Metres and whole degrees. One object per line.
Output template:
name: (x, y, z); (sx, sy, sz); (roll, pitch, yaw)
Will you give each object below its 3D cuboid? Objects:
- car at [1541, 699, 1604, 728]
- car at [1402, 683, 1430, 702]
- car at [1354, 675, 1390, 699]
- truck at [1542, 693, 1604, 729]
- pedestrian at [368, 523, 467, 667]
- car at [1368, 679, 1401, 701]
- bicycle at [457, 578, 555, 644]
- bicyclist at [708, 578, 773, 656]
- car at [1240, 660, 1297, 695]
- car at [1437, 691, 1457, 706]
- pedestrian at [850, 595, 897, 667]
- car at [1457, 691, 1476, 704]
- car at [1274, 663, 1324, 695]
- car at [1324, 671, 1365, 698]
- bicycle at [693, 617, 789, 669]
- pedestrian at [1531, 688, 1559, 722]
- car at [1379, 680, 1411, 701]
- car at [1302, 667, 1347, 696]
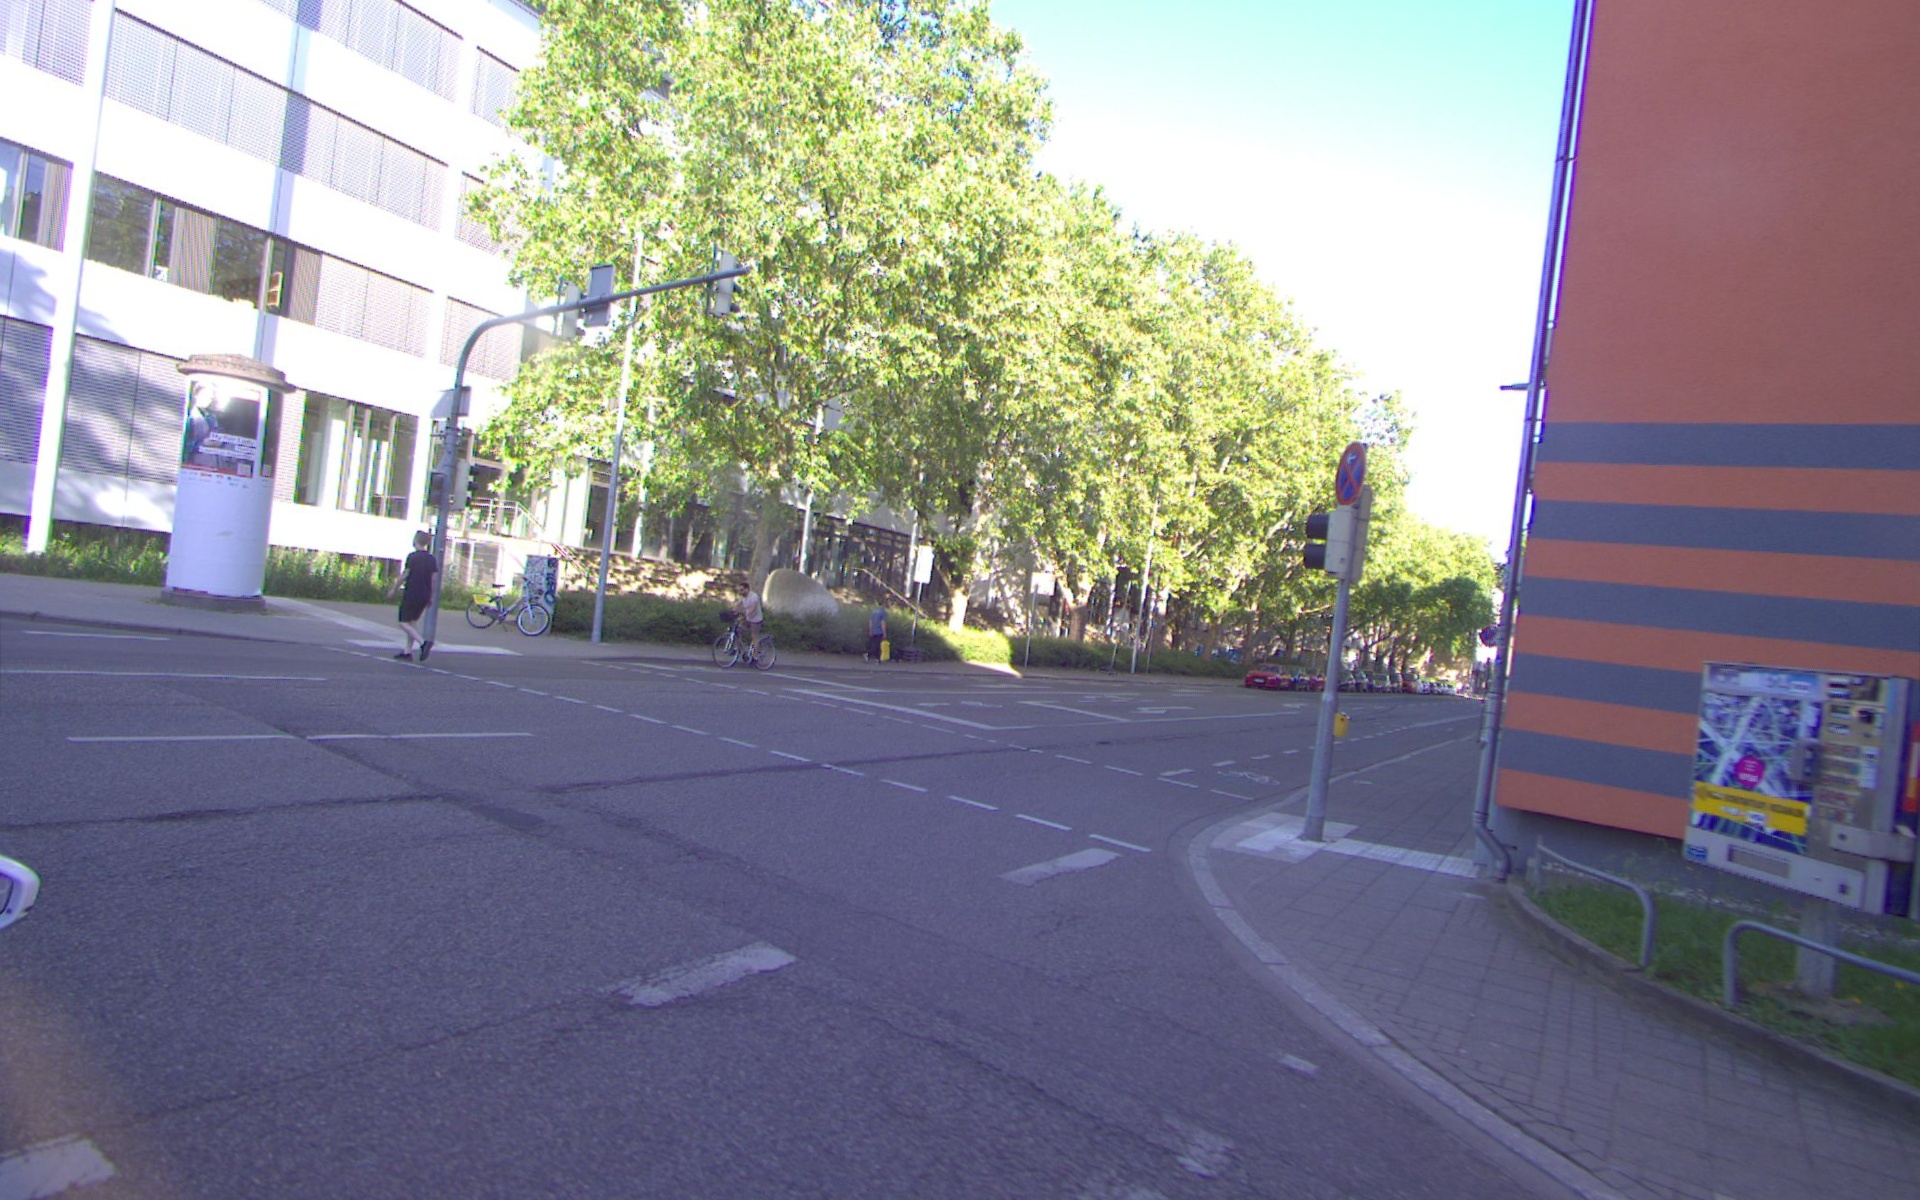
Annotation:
car: (46.482, 8.595, 76.423); (3.934, 1.567, 1.800); (6, -3, 32)
car: (44.970, 9.169, 99.121); (1.860, 1.563, 3.993); (6, -2, 32)
car: (32.746, 6.950, 79.863); (1.860, 1.563, 3.993); (6, -2, 32)
truck: (53.018, 9.623, 87.059); (4.372, 2.474, 1.800); (6, -3, 32)
pedestrian: (-7.519, -0.069, 13.946); (0.825, 1.861, 0.707); (7, -2, 38)
car: (36.347, 7.687, 86.186); (1.860, 1.563, 3.993); (6, -2, 32)
bicycle: (-9.229, 0.221, 20.461); (1.656, 1.062, 0.508); (9, 2, 4)
bicyclist: (-4.651, 0.370, 21.331); (0.736, 1.507, 0.954); (7, 0, 28)
car: (16.815, 4.235, 54.711); (1.860, 1.563, 3.993); (6, -2, 32)
car: (62.631, 12.689, 129.341); (1.860, 1.563, 3.993); (6, -2, 32)
pedestrian: (-2.378, 0.859, 27.704); (0.696, 1.861, 0.837); (8, -1, 26)
car: (72.702, 13.994, 144.355); (1.860, 1.563, 3.993); (6, -2, 32)
car: (20.564, 4.817, 60.884); (1.860, 1.563, 3.993); (6, -2, 32)
car: (27.315, 6.008, 71.423); (1.860, 1.563, 3.993); (6, -2, 32)
bicycle: (-4.635, 0.935, 21.484); (0.719, 0.938, 2.116); (7, -1, 28)
pedestrian: (26.455, 4.741, 45.478); (0.933, 1.410, 0.952); (7, 0, 32)
car: (39.085, 8.171, 90.359); (1.860, 1.563, 3.993); (6, -2, 32)
car: (23.816, 5.353, 65.612); (1.860, 1.563, 3.993); (6, -2, 32)
